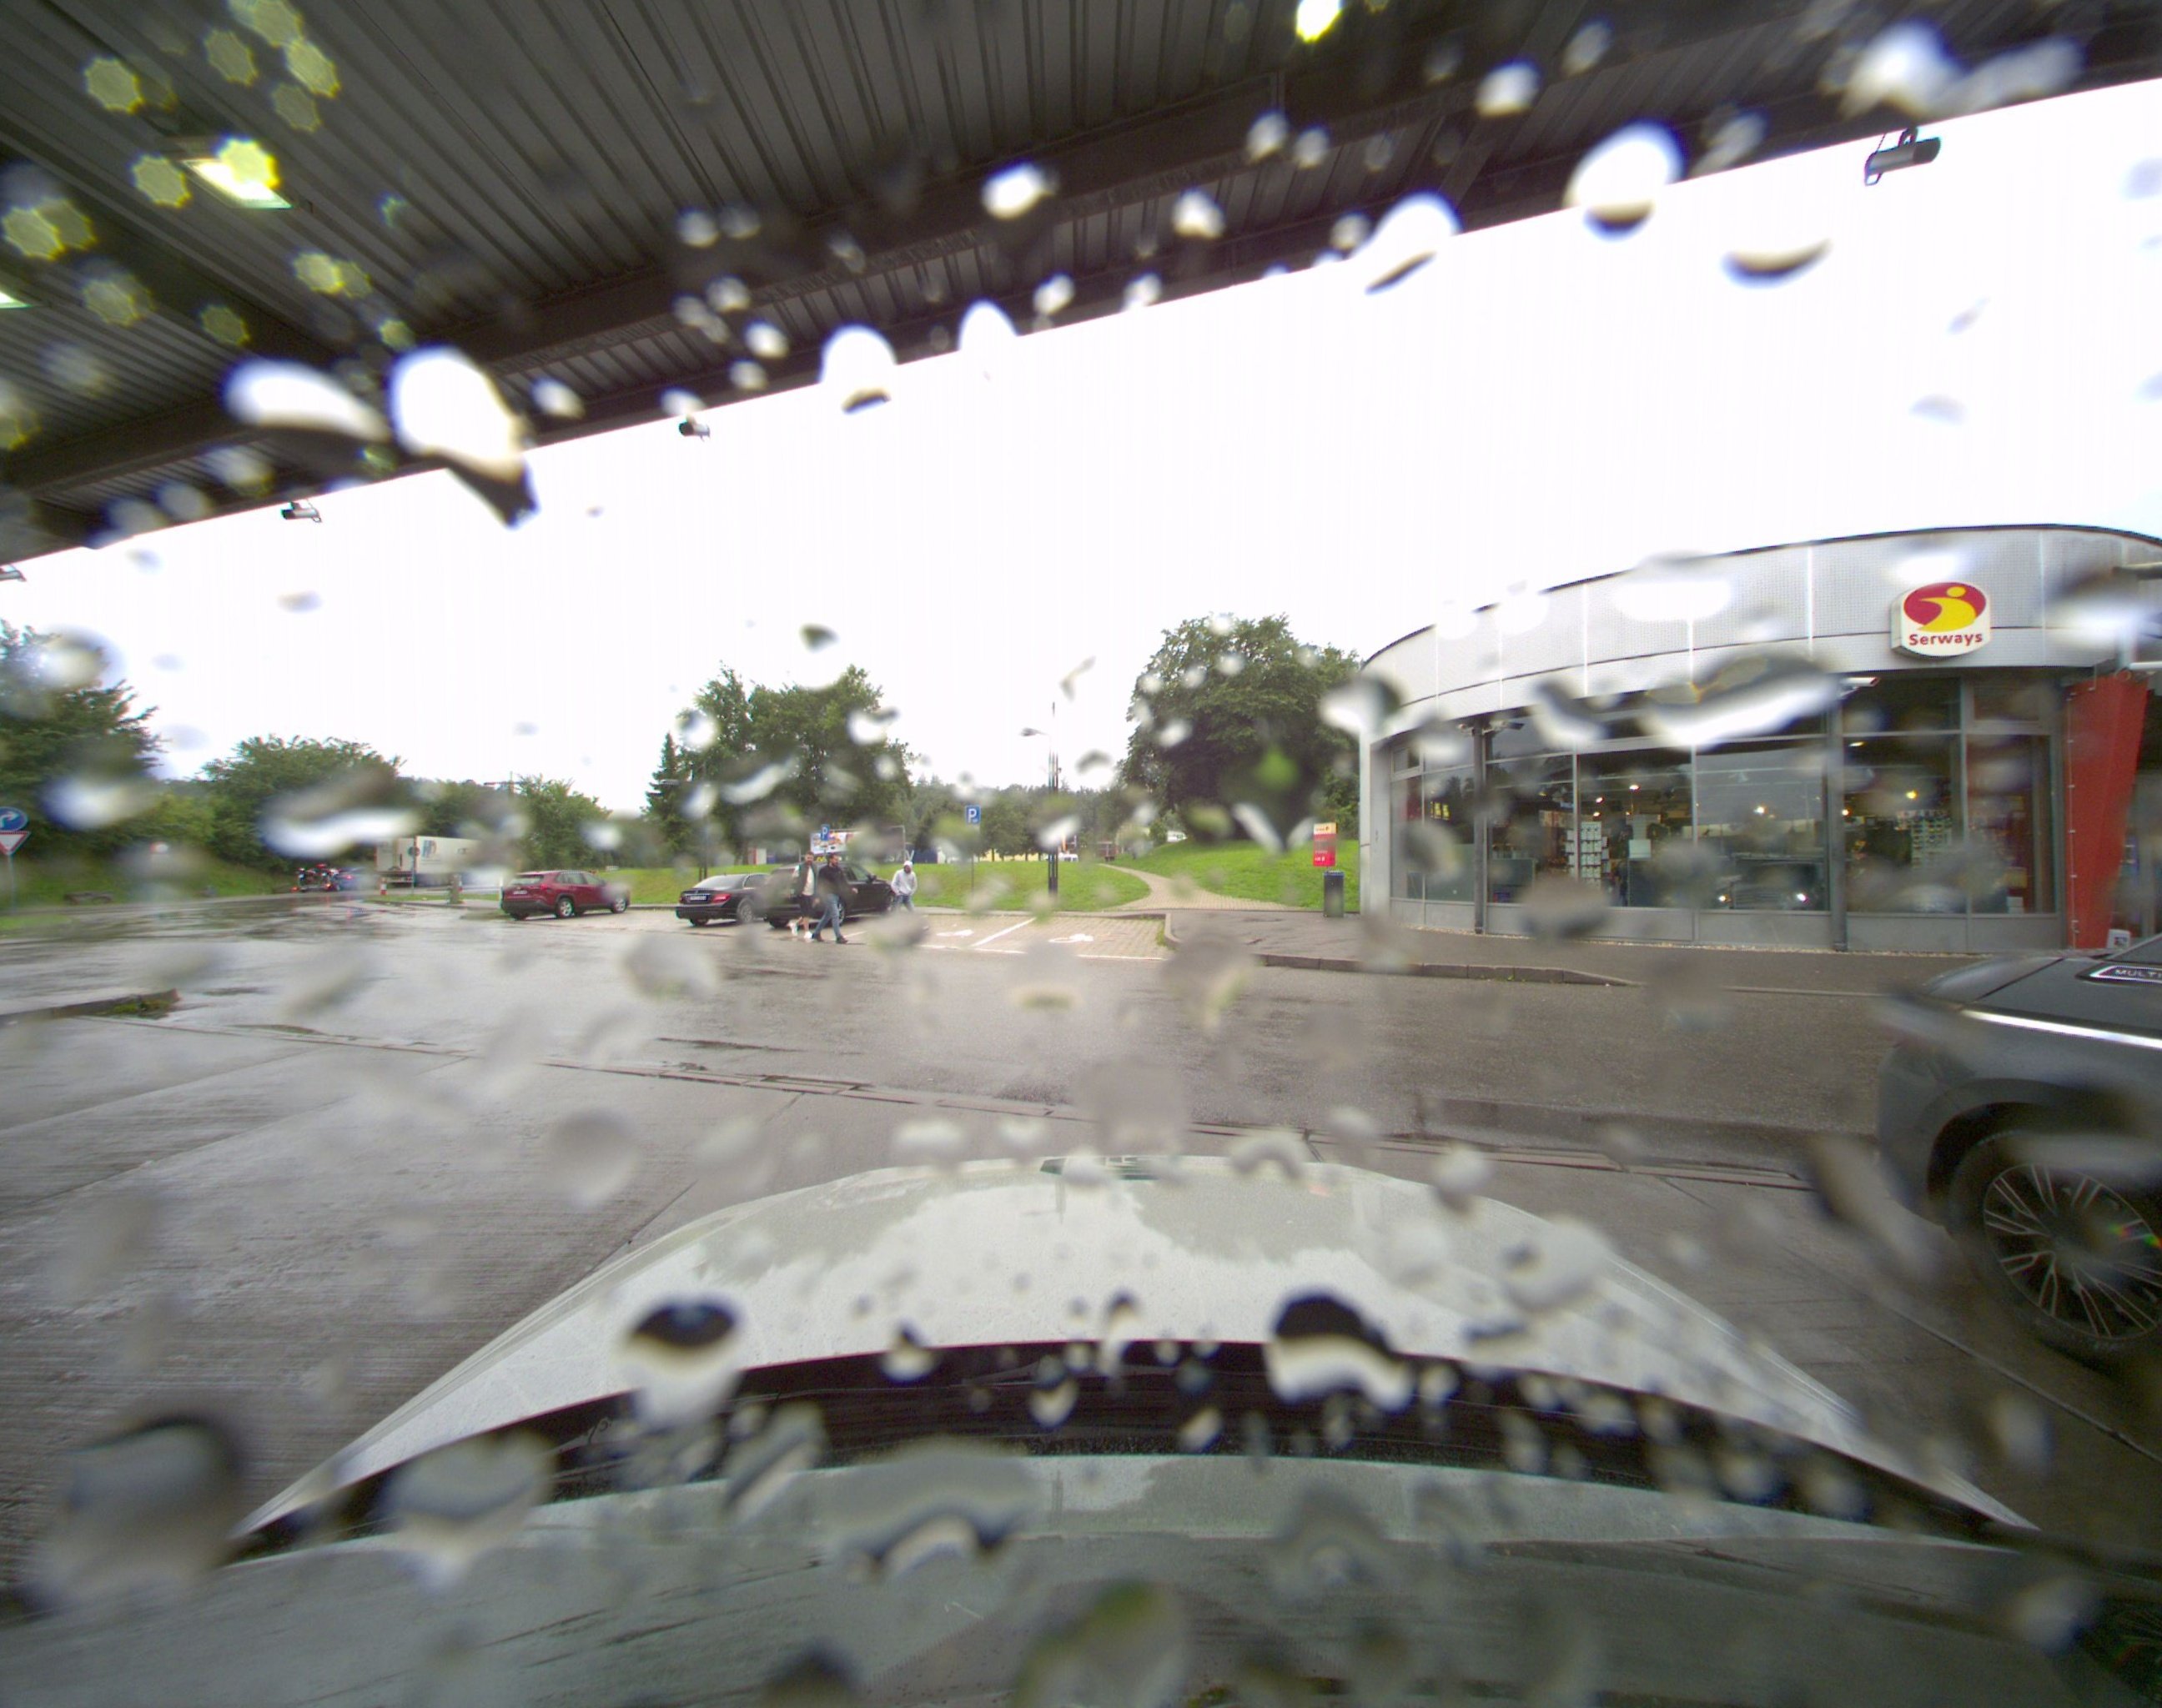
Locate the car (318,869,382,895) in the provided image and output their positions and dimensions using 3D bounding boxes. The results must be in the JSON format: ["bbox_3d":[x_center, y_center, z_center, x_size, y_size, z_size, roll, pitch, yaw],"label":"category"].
[{"bbox_3d":[-50.339,1.874,56.189,1.814,1.681,3.927,0,-1,-18],"label":"car"}]

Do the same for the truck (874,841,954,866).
[{"bbox_3d":[-20.744,-0.060,102.360,2.165,2.920,13.175,-1,-1,26],"label":"truck"}]

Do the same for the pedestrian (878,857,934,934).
[{"bbox_3d":[-3.819,0.892,17.799,0.943,1.631,0.707,-1,-1,18],"label":"pedestrian"}]

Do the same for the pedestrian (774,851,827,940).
[{"bbox_3d":[-6.159,0.887,17.880,0.942,1.887,0.708,-1,-1,37],"label":"pedestrian"}]

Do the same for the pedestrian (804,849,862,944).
[{"bbox_3d":[-5.052,0.841,16.606,0.883,1.887,0.707,-1,-1,21],"label":"pedestrian"}]

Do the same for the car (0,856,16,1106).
[{"bbox_3d":[-7.967,0.801,2.688,1.854,1.608,5.273,0,-1,2],"label":"car"}]

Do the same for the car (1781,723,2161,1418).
[{"bbox_3d":[3.674,0.543,0.689,1.854,1.798,5.142,0,-1,2],"label":"car"}]

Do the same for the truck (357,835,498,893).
[{"bbox_3d":[-55.439,0.833,69.993,3.550,4.340,16.899,0,-1,-18],"label":"truck"}]

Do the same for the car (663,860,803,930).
[{"bbox_3d":[-9.833,1.080,23.437,2.010,1.711,4.344,-2,0,1],"label":"car"}]

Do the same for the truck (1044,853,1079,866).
[{"bbox_3d":[-3.237,0.872,134.117,5.356,2.014,2.381,-1,-1,26],"label":"truck"}]

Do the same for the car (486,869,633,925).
[{"bbox_3d":[-18.134,1.439,28.605,1.928,1.644,4.352,-2,0,7],"label":"car"}]

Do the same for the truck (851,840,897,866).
[{"bbox_3d":[-24.177,-0.092,95.469,2.165,2.920,5.419,-1,-1,27],"label":"truck"}]

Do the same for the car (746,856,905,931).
[{"bbox_3d":[-6.647,0.969,21.792,2.002,1.711,4.360,-2,0,14],"label":"car"}]
